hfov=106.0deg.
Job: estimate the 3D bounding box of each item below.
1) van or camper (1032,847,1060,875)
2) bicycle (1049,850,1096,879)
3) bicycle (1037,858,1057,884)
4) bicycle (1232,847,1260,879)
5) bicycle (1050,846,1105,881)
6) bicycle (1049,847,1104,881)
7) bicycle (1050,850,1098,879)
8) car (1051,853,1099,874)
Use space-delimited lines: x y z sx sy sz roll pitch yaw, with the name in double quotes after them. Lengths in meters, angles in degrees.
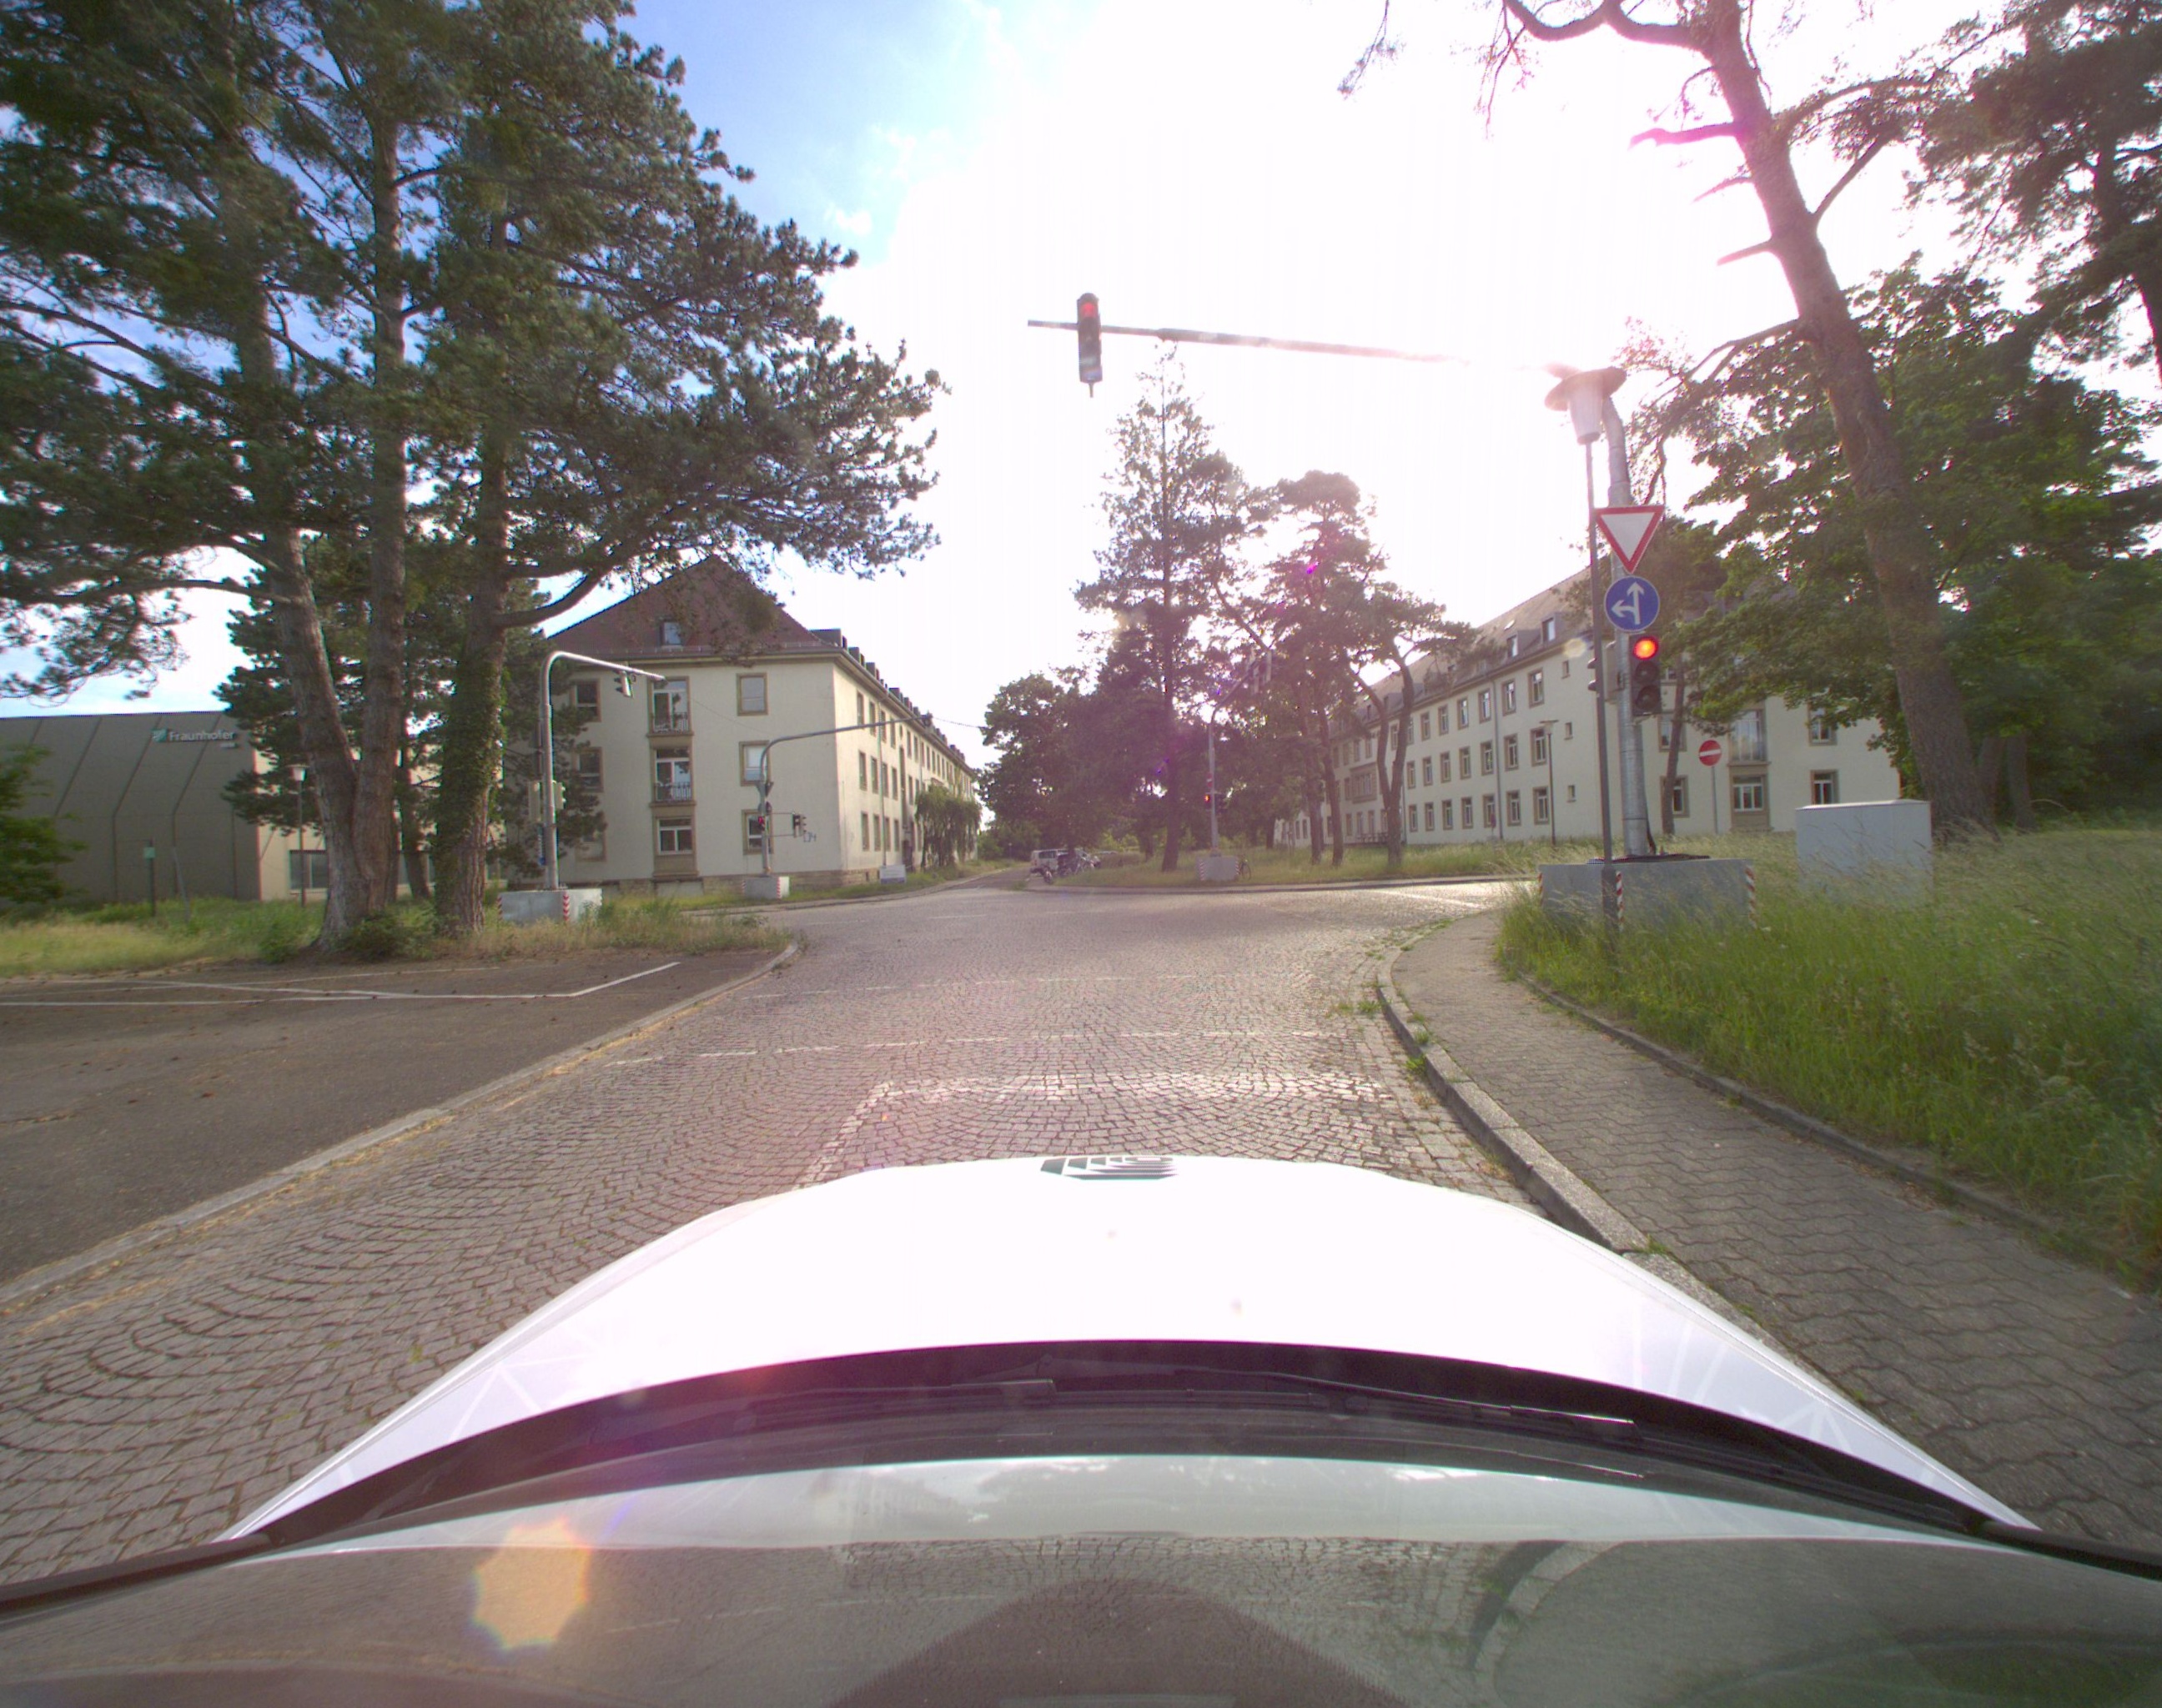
-2.659 0.479 61.771 1.989 1.948 6.046 -3 0 -3 "van or camper"
-0.506 0.621 49.356 2.767 1.694 1.120 0 0 -1 "bicycle"
-1.592 0.778 38.940 0.723 1.107 2.461 -7 0 0 "bicycle"
6.398 0.335 31.703 0.720 1.169 2.740 -1 0 5 "bicycle"
-0.204 0.502 43.269 2.773 1.694 1.117 -2 0 -7 "bicycle"
-0.257 0.530 44.461 2.775 1.694 1.117 -2 0 -9 "bicycle"
-0.390 0.631 48.022 2.764 1.694 1.121 0 0 2 "bicycle"
-0.443 0.640 57.653 3.135 1.354 1.616 -2 0 -8 "car"
